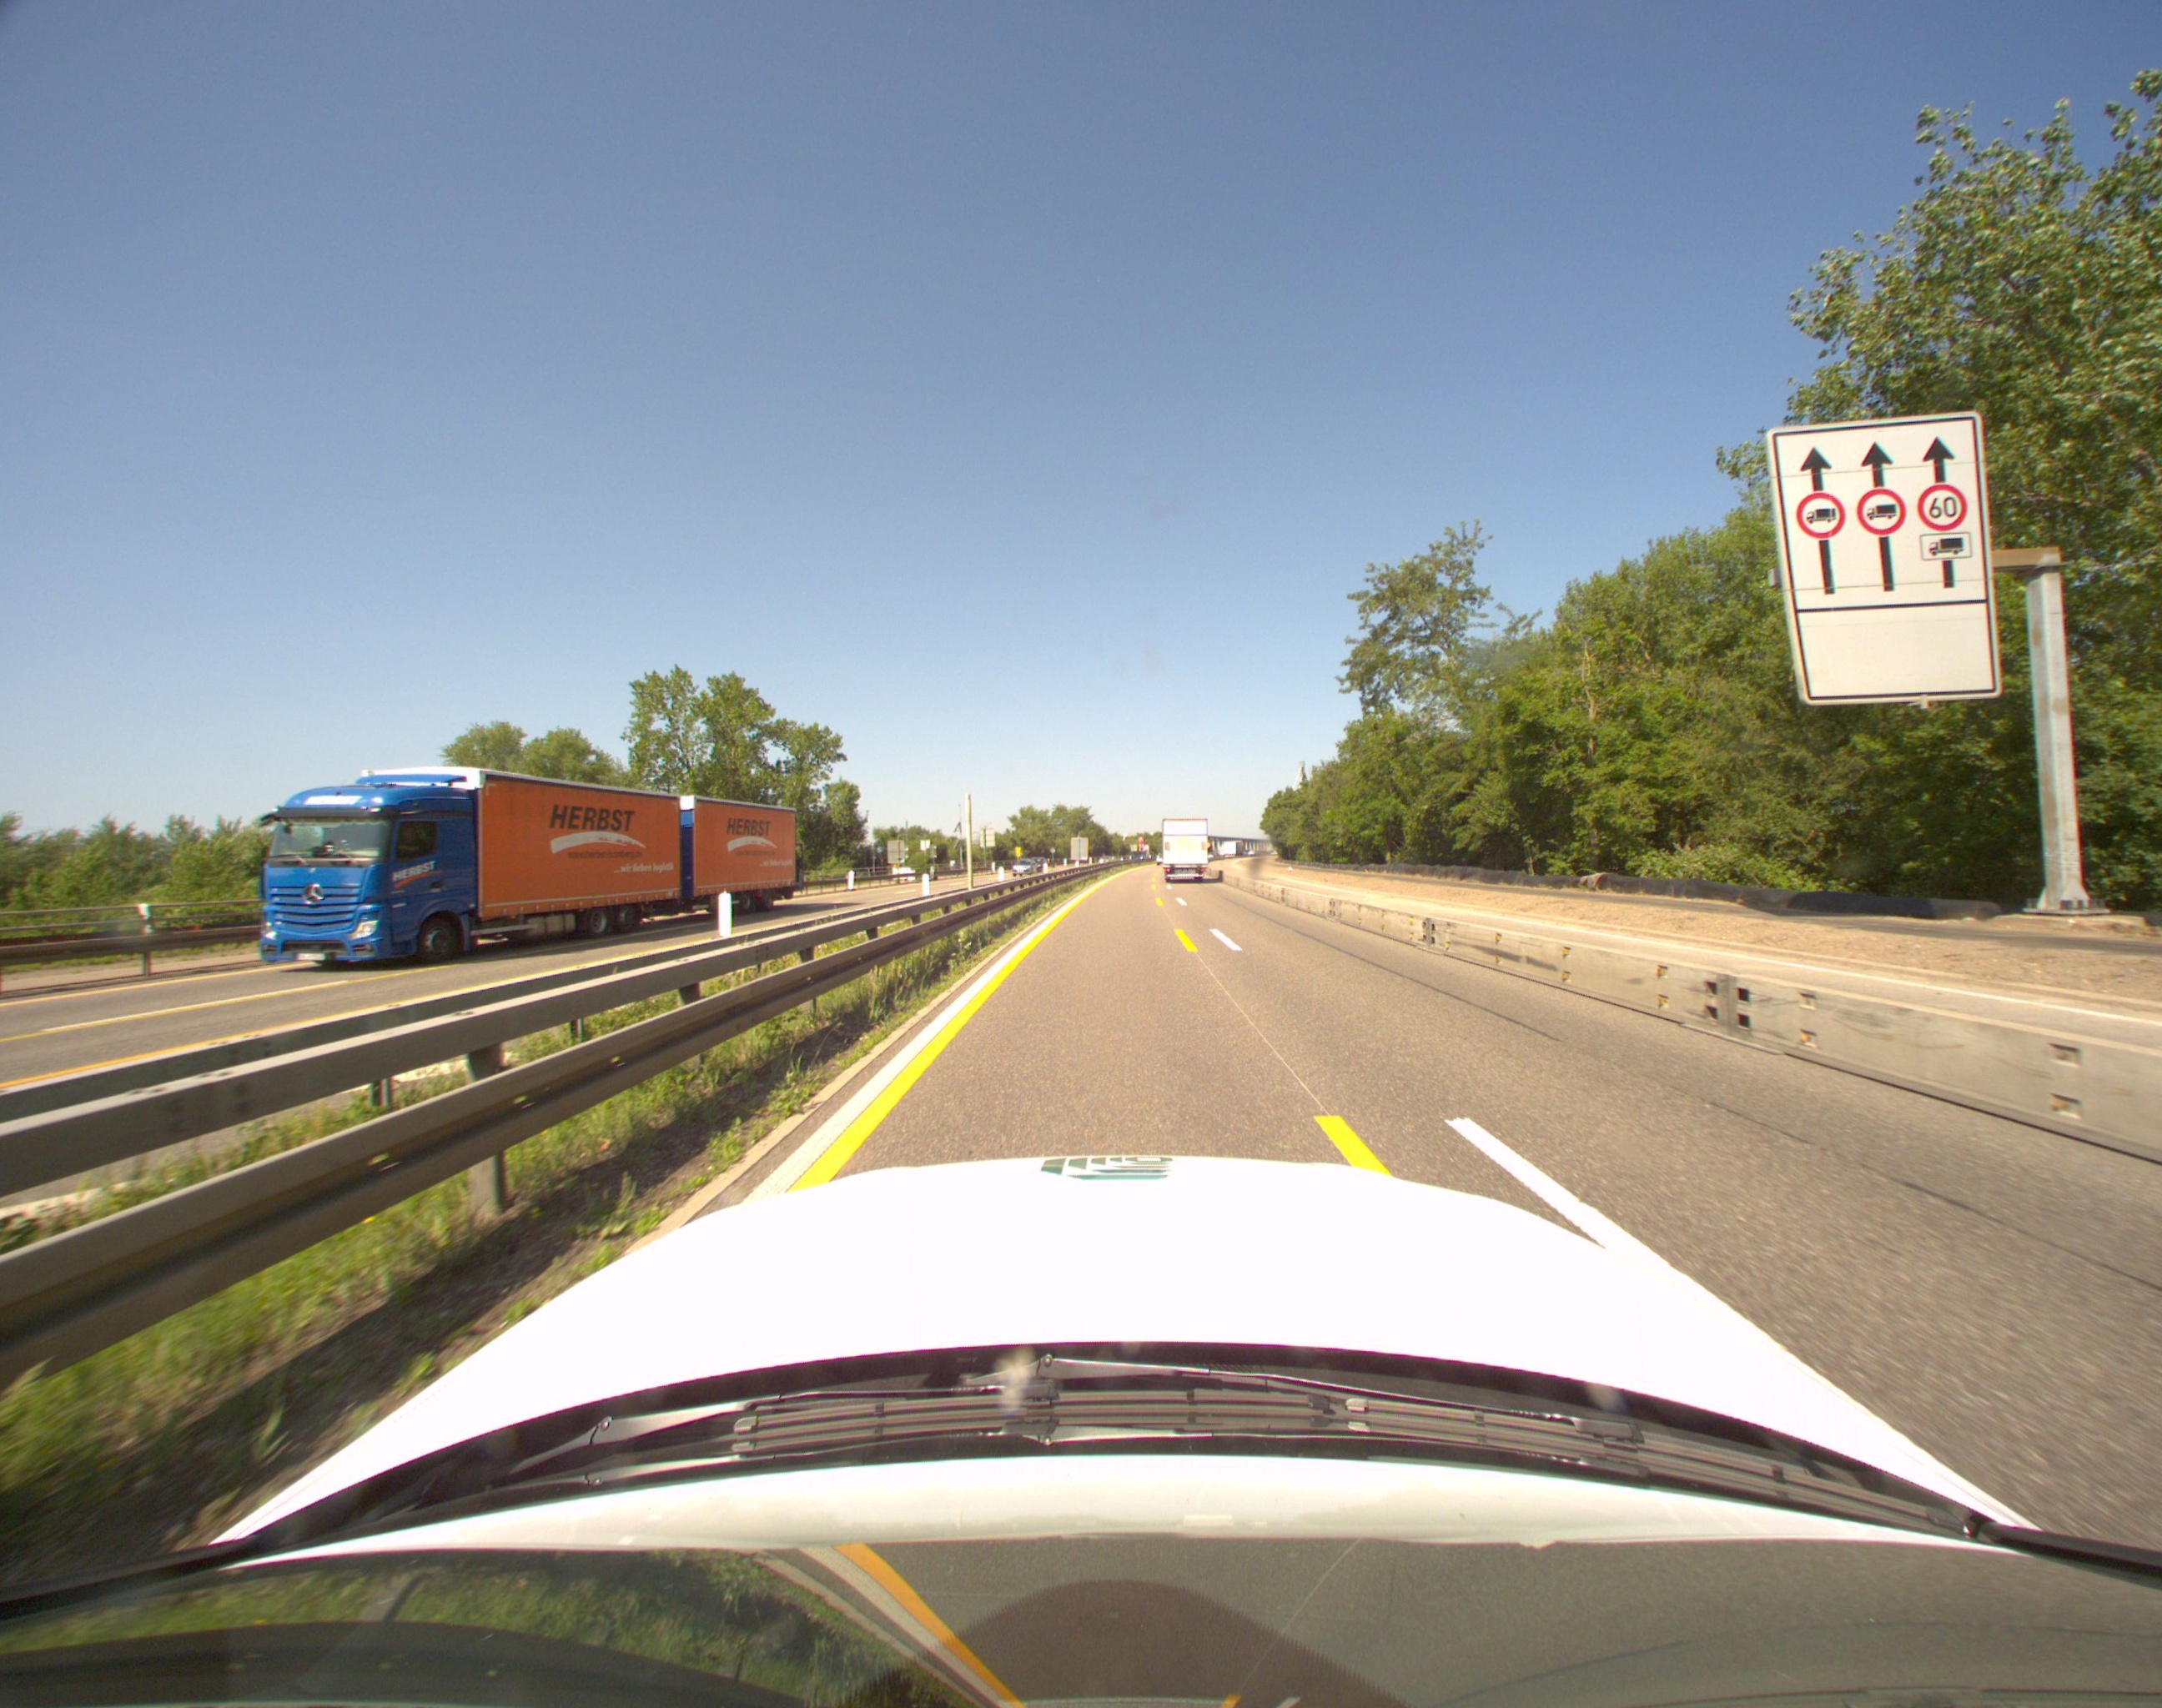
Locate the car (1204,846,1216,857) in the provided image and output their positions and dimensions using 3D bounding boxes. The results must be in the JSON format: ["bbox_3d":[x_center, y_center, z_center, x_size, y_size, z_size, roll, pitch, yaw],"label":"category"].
[{"bbox_3d":[25.116,-0.481,158.741,1.981,2.013,4.013,-3,0,11],"label":"car"}]

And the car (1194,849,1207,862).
[{"bbox_3d":[19.997,0.186,136.347,1.981,2.013,4.012,-3,0,10],"label":"car"}]

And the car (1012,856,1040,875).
[{"bbox_3d":[-5.258,1.055,78.457,1.899,1.651,4.385,-3,0,7],"label":"car"}]

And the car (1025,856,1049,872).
[{"bbox_3d":[-5.058,1.134,94.628,1.899,1.734,5.030,-3,0,7],"label":"car"}]

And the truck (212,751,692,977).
[{"bbox_3d":[-14.033,0.148,20.158,3.024,4.091,10.635,-1,0,4],"label":"truck"}]

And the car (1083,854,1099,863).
[{"bbox_3d":[1.851,0.845,147.060,1.872,1.420,4.875,-2,0,12],"label":"car"}]

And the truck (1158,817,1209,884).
[{"bbox_3d":[5.794,-0.186,45.298,2.619,3.427,7.251,0,0,9],"label":"truck"}]

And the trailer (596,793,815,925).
[{"bbox_3d":[-13.361,0.123,30.404,3.024,4.091,9.799,-1,0,4],"label":"trailer"}]

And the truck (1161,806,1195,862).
[{"bbox_3d":[8.171,-1.599,68.315,2.620,4.468,7.248,0,0,7],"label":"truck"}]

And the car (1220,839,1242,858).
[{"bbox_3d":[36.464,-1.438,197.936,4.177,4.251,10.703,-3,0,14],"label":"car"}]
